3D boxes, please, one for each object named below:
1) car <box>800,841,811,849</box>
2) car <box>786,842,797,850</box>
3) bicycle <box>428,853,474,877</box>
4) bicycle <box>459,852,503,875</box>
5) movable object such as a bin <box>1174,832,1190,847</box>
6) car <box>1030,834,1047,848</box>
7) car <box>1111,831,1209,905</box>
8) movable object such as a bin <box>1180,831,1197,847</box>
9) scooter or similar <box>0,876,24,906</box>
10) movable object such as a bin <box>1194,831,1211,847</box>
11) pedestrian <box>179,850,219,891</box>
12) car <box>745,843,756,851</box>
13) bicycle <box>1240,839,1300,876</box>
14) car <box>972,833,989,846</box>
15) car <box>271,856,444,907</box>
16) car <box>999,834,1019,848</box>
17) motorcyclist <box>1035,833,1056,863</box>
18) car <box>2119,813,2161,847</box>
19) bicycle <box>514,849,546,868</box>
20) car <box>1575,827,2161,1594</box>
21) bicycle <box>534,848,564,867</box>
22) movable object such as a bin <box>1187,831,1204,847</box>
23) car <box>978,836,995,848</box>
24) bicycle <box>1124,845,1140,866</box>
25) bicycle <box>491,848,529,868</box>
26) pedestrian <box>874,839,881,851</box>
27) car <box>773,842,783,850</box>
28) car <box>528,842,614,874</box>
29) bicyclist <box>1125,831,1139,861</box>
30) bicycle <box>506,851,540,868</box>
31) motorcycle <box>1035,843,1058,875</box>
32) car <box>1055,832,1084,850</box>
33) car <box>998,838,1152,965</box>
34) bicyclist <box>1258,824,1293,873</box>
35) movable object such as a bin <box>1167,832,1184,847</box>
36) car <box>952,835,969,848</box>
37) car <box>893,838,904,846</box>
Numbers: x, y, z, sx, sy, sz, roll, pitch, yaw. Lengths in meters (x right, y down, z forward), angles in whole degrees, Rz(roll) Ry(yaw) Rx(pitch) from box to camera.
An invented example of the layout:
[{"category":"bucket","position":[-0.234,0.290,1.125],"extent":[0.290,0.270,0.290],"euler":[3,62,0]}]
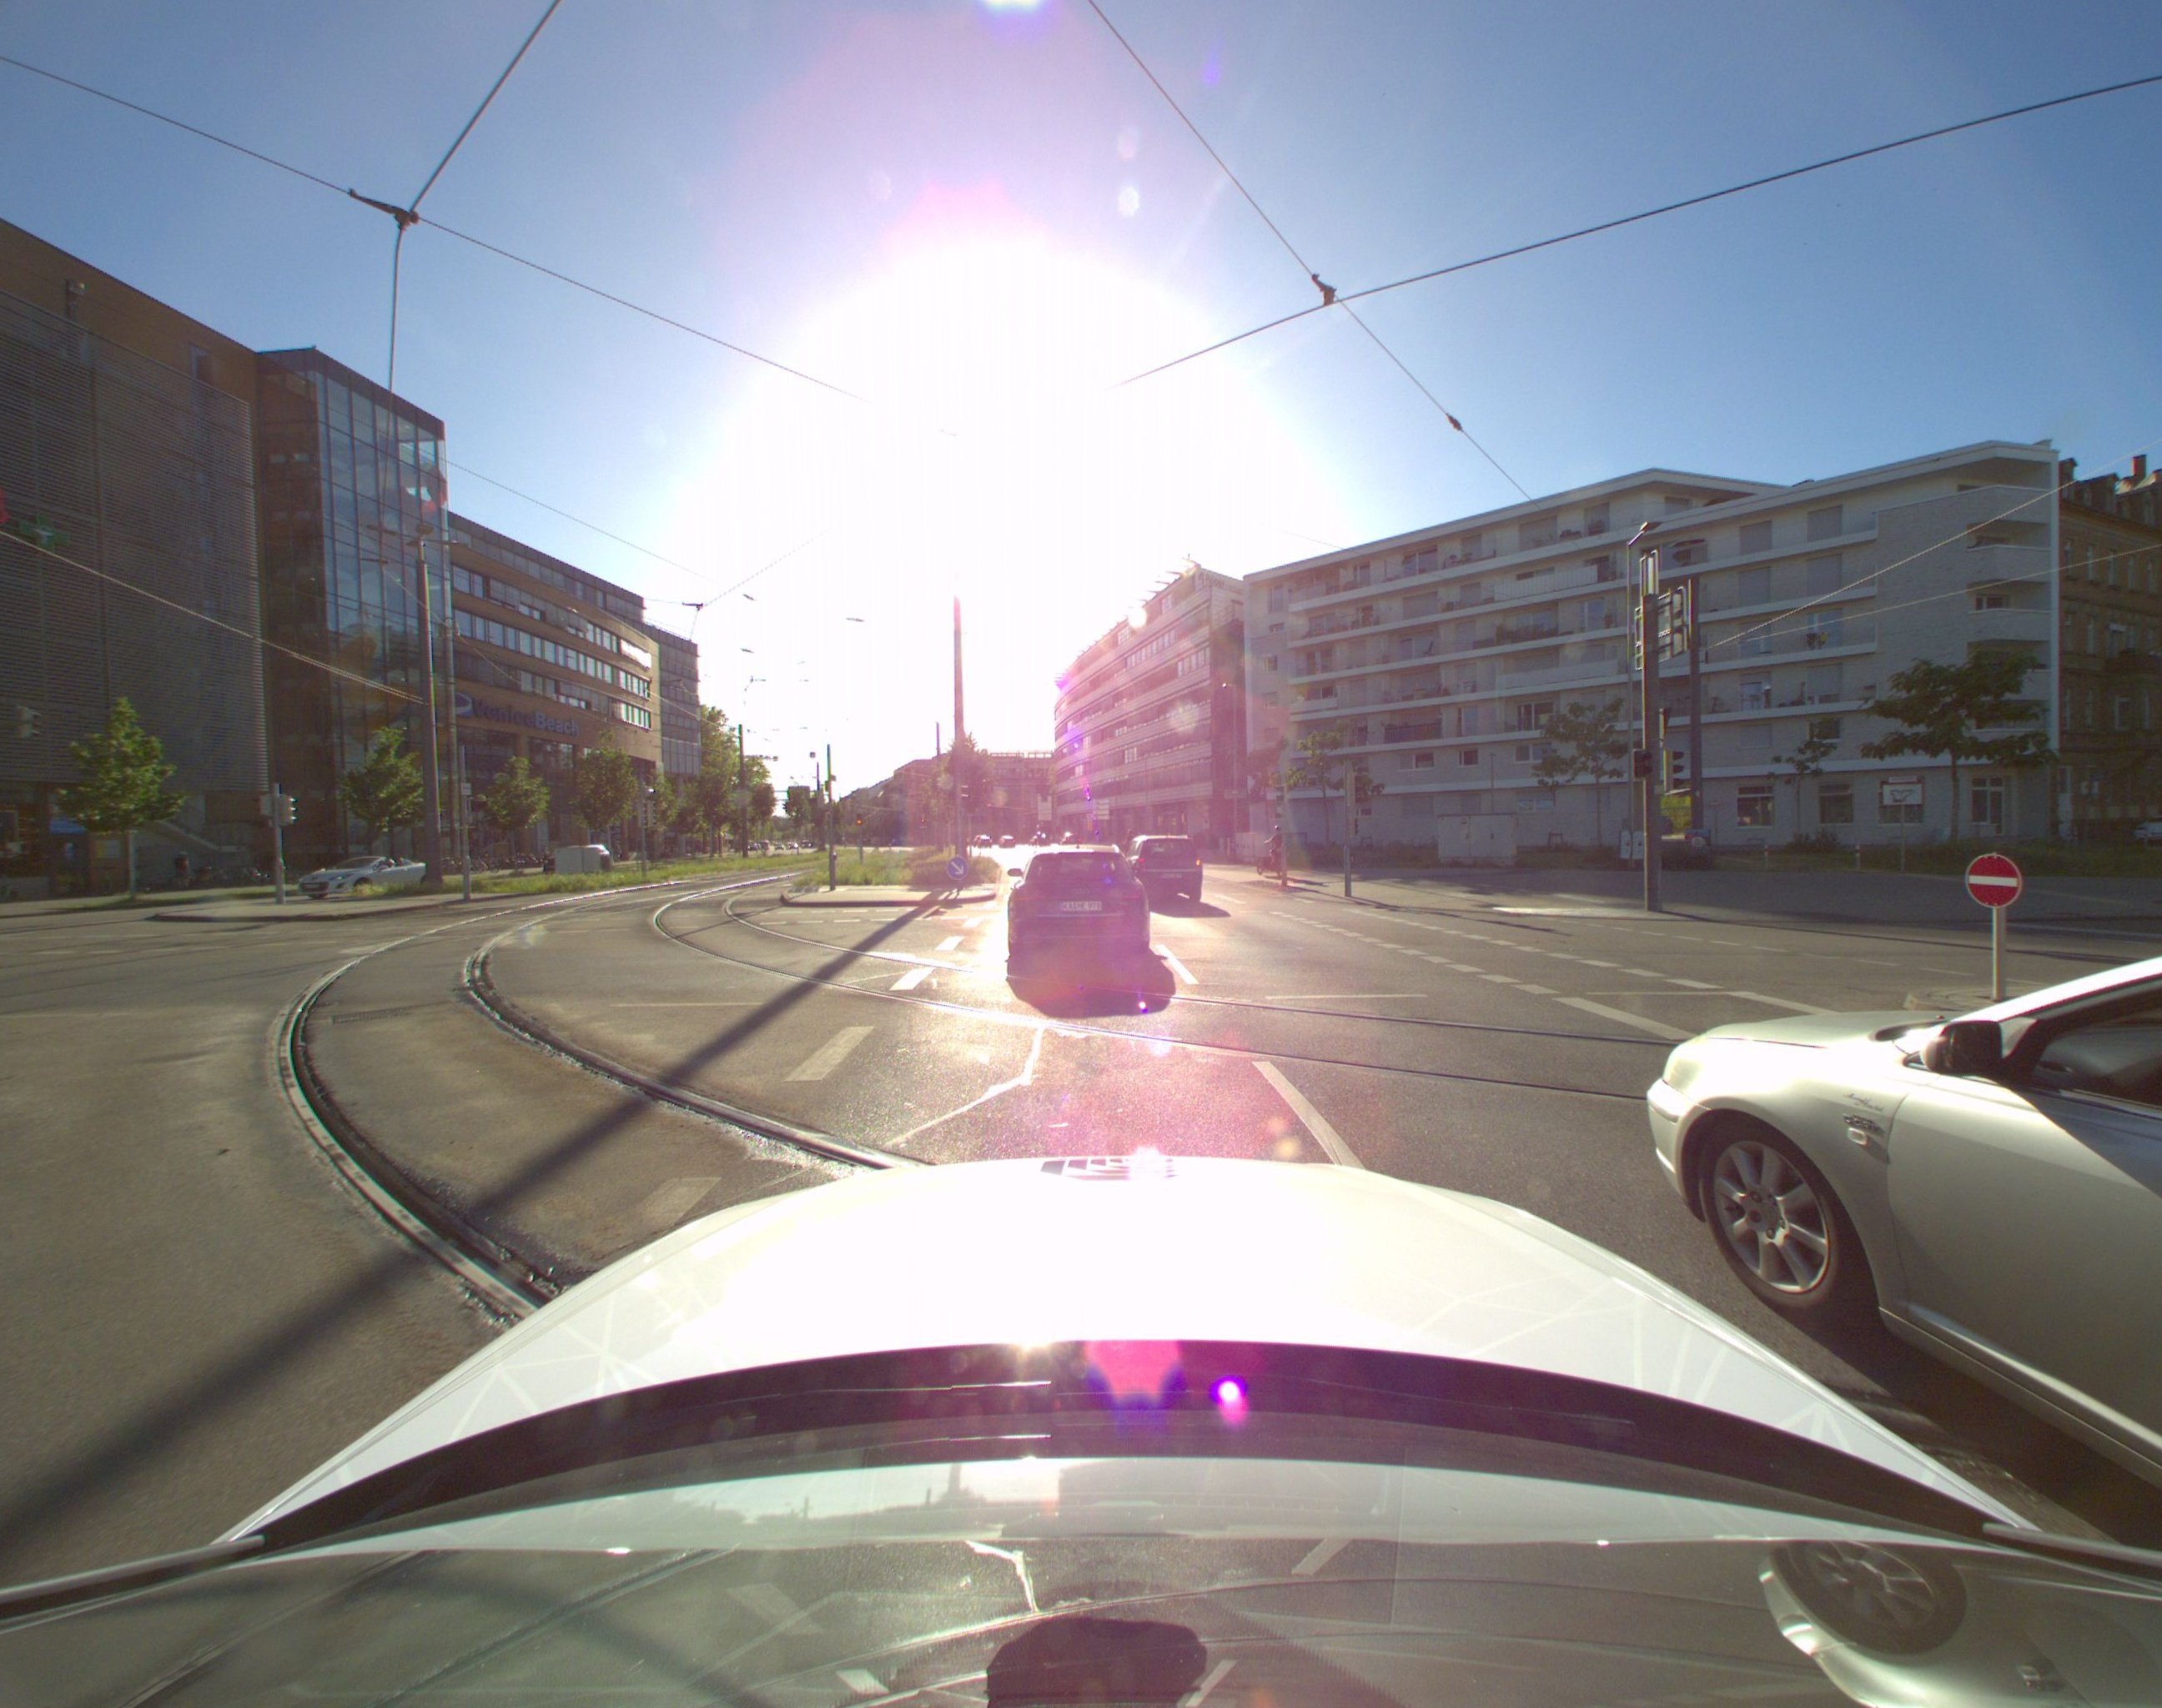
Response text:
[{"category":"car","position":[-60.917,-2.012,180.240],"extent":[2.002,1.683,3.970],"euler":[-2,1,-23]},{"category":"car","position":[-63.168,-1.739,177.742],"extent":[2.002,1.683,3.970],"euler":[-2,1,-23]},{"category":"bicycle","position":[-39.806,0.722,51.481],"extent":[2.543,1.433,0.908],"euler":[-2,0,14]},{"category":"bicycle","position":[-39.866,0.632,54.129],"extent":[2.543,1.433,0.908],"euler":[-2,0,14]},{"category":"movable object such as a bin","position":[9.147,-1.295,73.726],"extent":[1.064,1.332,1.117],"euler":[-2,0,-22]},{"category":"car","position":[-6.150,-1.854,117.227],"extent":[1.993,1.837,3.988],"euler":[-2,0,-9]},{"category":"car","position":[1.938,0.280,21.254],"extent":[1.743,1.695,4.253],"euler":[1,1,-5]},{"category":"movable object such as a bin","position":[9.575,-1.320,72.616],"extent":[1.064,1.332,1.117],"euler":[-2,0,-22]},{"category":"scooter or similar","position":[-40.862,1.402,30.701],"extent":[0.418,1.110,1.154],"euler":[-2,0,7]},{"category":"movable object such as a bin","position":[10.487,-1.294,70.234],"extent":[1.064,1.332,1.117],"euler":[-2,0,-22]},{"category":"pedestrian","position":[-39.970,0.735,36.912],"extent":[0.822,1.824,0.907],"euler":[-2,0,7]},{"category":"car","position":[-70.339,-1.475,173.417],"extent":[2.002,1.683,3.970],"euler":[-2,1,-23]},{"category":"bicycle","position":[6.726,0.123,29.041],"extent":[0.772,1.262,2.058],"euler":[-2,1,-37]},{"category":"car","position":[-14.069,-2.068,113.960],"extent":[1.995,1.706,3.984],"euler":[-2,0,-12]},{"category":"car","position":[-25.882,0.916,29.401],"extent":[1.985,1.545,4.535],"euler":[-1,1,3]},{"category":"car","position":[-9.300,-1.652,104.974],"extent":[1.995,1.596,3.983],"euler":[-2,0,-12]},{"category":"motorcyclist","position":[-1.615,-0.273,37.094],"extent":[0.862,1.326,0.679],"euler":[-1,1,-9]},{"category":"car","position":[49.521,-1.125,36.964],"extent":[4.004,1.486,1.985],"euler":[-2,0,-23]},{"category":"bicycle","position":[-42.752,0.348,63.206],"extent":[2.229,1.433,0.721],"euler":[-2,0,14]},{"category":"car","position":[2.942,0.687,1.202],"extent":[1.739,1.481,4.631],"euler":[-1,1,2]},{"category":"bicycle","position":[-42.639,0.278,65.248],"extent":[2.122,1.433,0.762],"euler":[-2,0,14]},{"category":"movable object such as a bin","position":[10.024,-1.306,71.452],"extent":[1.064,1.332,1.117],"euler":[-2,0,-22]},{"category":"car","position":[-12.507,-1.567,107.765],"extent":[1.993,1.596,3.988],"euler":[-2,0,-9]},{"category":"bicycle","position":[2.799,0.067,44.820],"extent":[0.650,1.043,1.935],"euler":[-1,2,9]},{"category":"bicycle","position":[-42.700,0.289,60.906],"extent":[2.588,1.433,0.774],"euler":[-2,0,14]},{"category":"pedestrian","position":[-29.820,-1.316,119.578],"extent":[0.902,1.824,0.826],"euler":[-2,0,-11]},{"category":"car","position":[-65.860,-1.693,176.929],"extent":[2.002,1.683,3.970],"euler":[-2,1,-23]},{"category":"car","position":[-28.569,0.183,45.811],"extent":[1.987,1.640,4.411],"euler":[-1,1,0]},{"category":"bicyclist","position":[2.829,-0.433,44.804],"extent":[0.650,1.642,0.974],"euler":[-1,1,9]},{"category":"bicycle","position":[-42.700,0.418,62.346],"extent":[2.396,1.235,0.748],"euler":[-2,0,14]},{"category":"motorcycle","position":[-1.582,0.217,37.101],"extent":[0.862,1.393,1.888],"euler":[-1,1,-8]},{"category":"car","position":[-1.182,-1.297,81.809],"extent":[2.005,1.715,4.353],"euler":[0,2,-13]},{"category":"car","position":[0.062,0.530,11.758],"extent":[1.834,1.453,4.005],"euler":[1,2,4]},{"category":"bicyclist","position":[6.876,-0.194,28.843],"extent":[0.772,1.706,0.920],"euler":[-2,1,-37]},{"category":"movable object such as a bin","position":[8.681,-1.291,74.842],"extent":[1.064,1.332,1.117],"euler":[-2,0,-22]},{"category":"car","position":[-16.816,-1.798,113.599],"extent":[1.995,1.706,3.984],"euler":[-2,0,-12]},{"category":"car","position":[-42.363,-2.759,189.001],"extent":[2.000,1.706,3.974],"euler":[-2,0,-19]}]
